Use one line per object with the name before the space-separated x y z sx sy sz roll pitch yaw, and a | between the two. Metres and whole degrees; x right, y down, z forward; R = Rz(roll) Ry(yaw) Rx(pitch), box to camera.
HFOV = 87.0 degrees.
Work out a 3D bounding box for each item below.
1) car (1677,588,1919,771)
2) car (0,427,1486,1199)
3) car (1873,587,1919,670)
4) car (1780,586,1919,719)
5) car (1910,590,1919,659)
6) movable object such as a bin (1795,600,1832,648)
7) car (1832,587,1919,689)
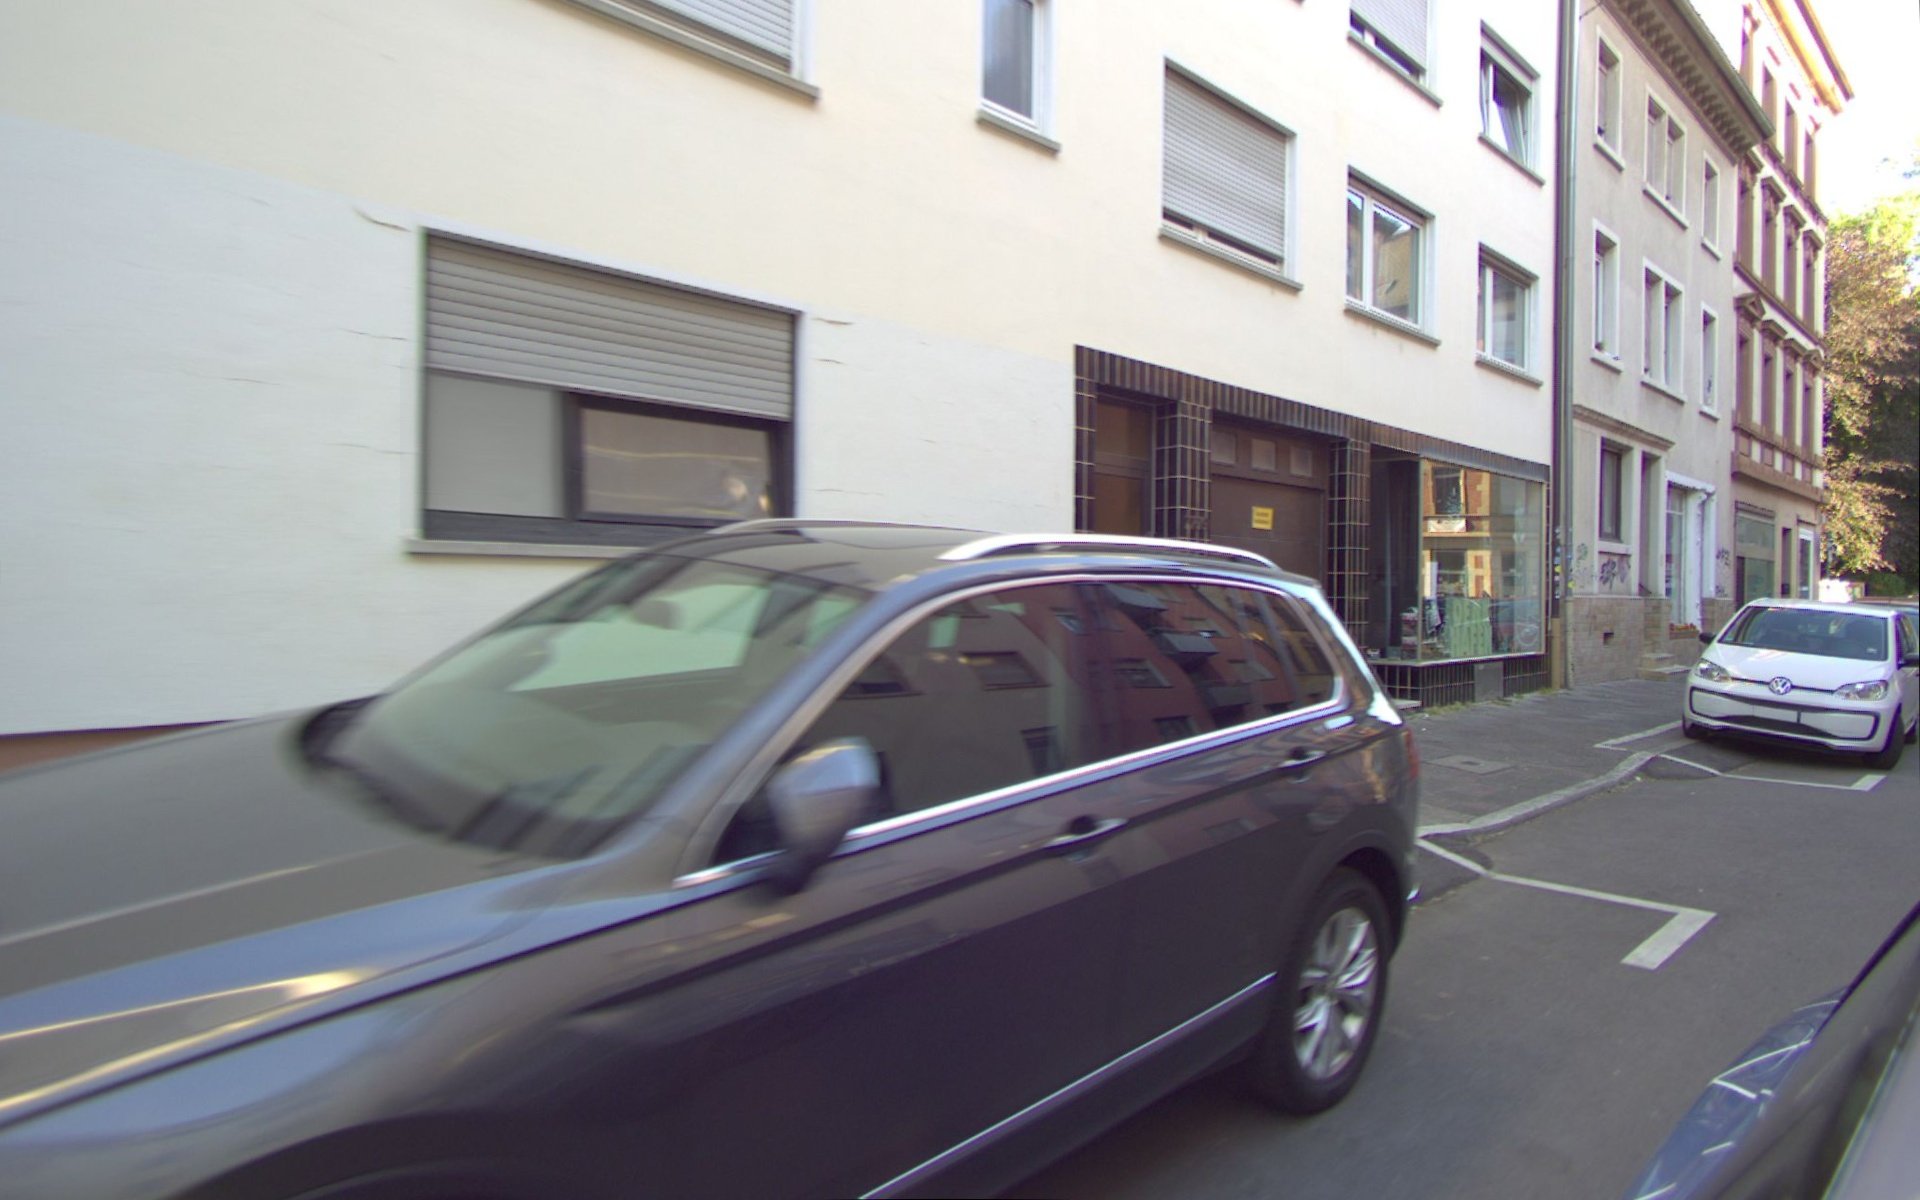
car | 9.109 0.677 10.667 3.869 1.525 1.679 0 2 -42
car | -0.405 0.576 2.617 4.177 1.646 1.679 -1 5 -42
car | 19.394 0.539 19.914 3.953 1.525 1.746 0 2 -43
car | 12.443 0.616 13.525 3.869 1.525 1.679 0 2 -42
car | 23.278 0.565 23.229 4.282 1.525 1.747 0 2 -42
movable object such as a bin | 19.537 0.543 23.165 0.583 1.052 0.515 0 2 -40
car | 16.004 0.580 16.919 4.112 1.525 1.601 0 2 -42
